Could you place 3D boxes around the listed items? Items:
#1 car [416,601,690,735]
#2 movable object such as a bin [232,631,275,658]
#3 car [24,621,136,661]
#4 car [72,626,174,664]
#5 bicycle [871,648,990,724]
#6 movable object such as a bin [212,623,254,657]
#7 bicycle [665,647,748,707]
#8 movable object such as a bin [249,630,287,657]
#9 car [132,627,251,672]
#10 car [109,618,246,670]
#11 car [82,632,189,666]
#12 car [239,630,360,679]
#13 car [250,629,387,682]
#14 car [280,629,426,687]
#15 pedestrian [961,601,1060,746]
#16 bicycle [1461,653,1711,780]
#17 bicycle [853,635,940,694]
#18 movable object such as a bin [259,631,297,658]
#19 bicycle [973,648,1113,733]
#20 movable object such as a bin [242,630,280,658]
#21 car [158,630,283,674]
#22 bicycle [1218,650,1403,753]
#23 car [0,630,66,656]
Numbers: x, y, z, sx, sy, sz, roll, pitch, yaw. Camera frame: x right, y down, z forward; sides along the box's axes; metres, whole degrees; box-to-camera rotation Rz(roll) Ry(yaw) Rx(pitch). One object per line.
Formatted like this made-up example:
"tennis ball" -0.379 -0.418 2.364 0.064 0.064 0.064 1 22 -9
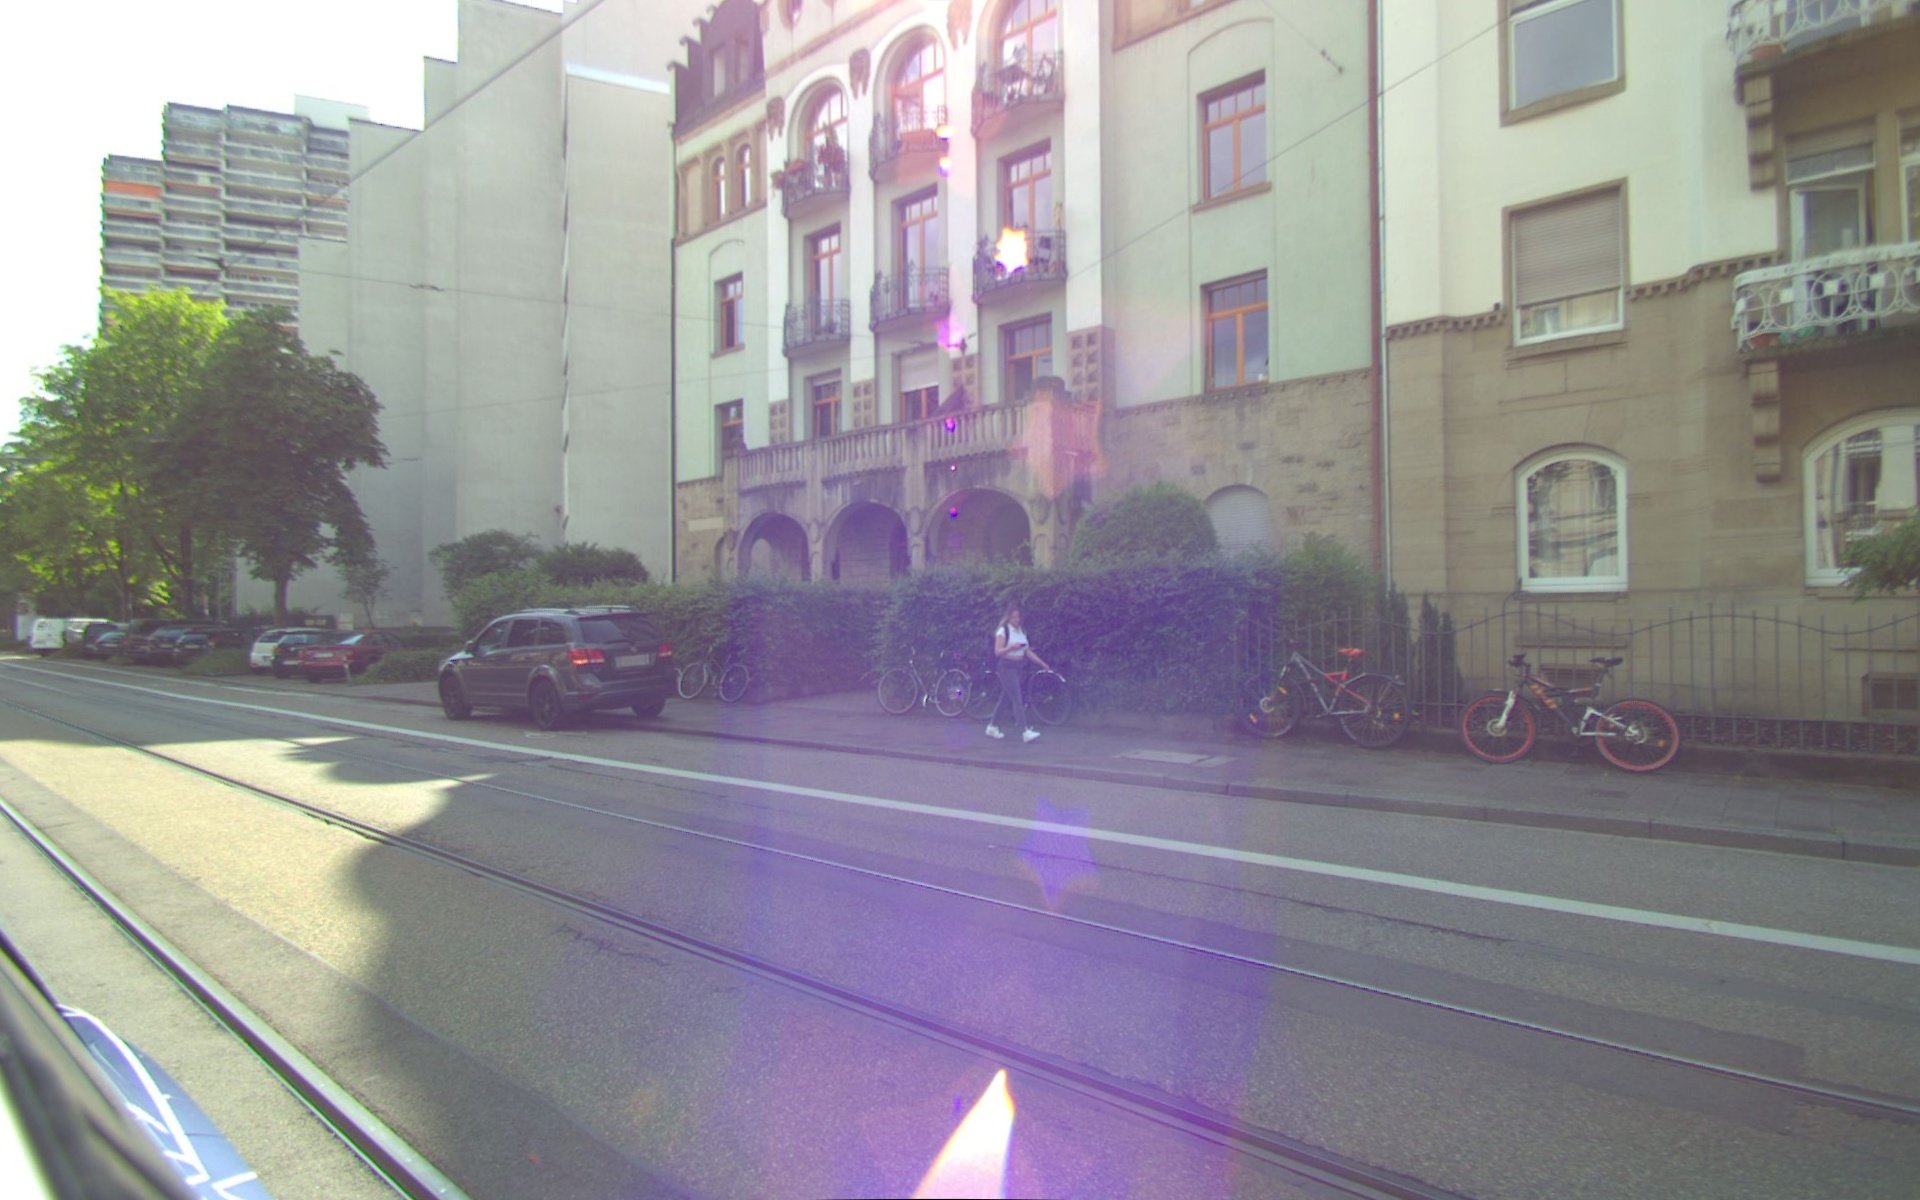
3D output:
"car" -6.410 0.977 15.655 4.876 1.776 1.768 -2 -2 38
"movable object such as a bin" -37.087 2.335 53.152 1.536 1.374 1.374 -1 -4 37
"car" -46.577 2.150 53.729 1.940 2.012 4.687 -1 -2 -1
"car" -39.115 2.129 47.410 1.734 1.706 3.717 1 -3 -3
"bicycle" -0.443 1.172 14.101 1.921 0.966 0.379 -2 0 43
"movable object such as a bin" -39.731 2.212 55.302 1.536 1.795 1.374 -1 -4 37
"bicycle" -4.415 1.310 17.544 1.921 0.966 0.379 -2 0 43
"movable object such as a bin" -34.617 2.176 50.652 1.440 1.337 1.152 -1 -4 39
"car" -29.552 1.926 39.081 1.715 1.605 4.003 1 -3 -4
"car" -31.867 1.811 41.449 1.887 1.969 5.174 1 -3 -6
"car" -36.689 2.210 45.167 1.733 1.428 4.005 1 -3 -6
"car" -21.514 1.783 33.129 1.672 1.495 3.811 1 -3 -5
"car" -19.396 1.688 30.805 1.674 1.495 3.805 1 -3 1
"car" -17.030 1.625 28.640 1.819 1.495 3.972 1 -3 -3
"pedestrian" 0.585 0.822 11.749 0.882 1.580 0.672 -2 0 43
"bicycle" 5.411 0.971 8.844 1.801 0.983 0.379 -2 0 43
"bicycle" -1.170 1.187 19.051 0.384 0.966 1.894 -2 0 41
"movable object such as a bin" -33.494 2.188 49.702 1.440 1.293 1.156 -1 -4 40
"bicycle" 1.012 1.104 12.711 1.799 0.966 0.446 -2 0 40
"movable object such as a bin" -35.937 2.268 52.034 1.439 1.391 1.181 -1 -4 37
"car" -26.909 1.903 36.996 1.716 1.495 4.001 1 -3 -2
"bicycle" 3.618 1.019 10.566 1.801 0.966 0.379 -2 0 43
"car" -57.623 2.633 62.442 1.715 1.535 3.890 -1 -1 -6
